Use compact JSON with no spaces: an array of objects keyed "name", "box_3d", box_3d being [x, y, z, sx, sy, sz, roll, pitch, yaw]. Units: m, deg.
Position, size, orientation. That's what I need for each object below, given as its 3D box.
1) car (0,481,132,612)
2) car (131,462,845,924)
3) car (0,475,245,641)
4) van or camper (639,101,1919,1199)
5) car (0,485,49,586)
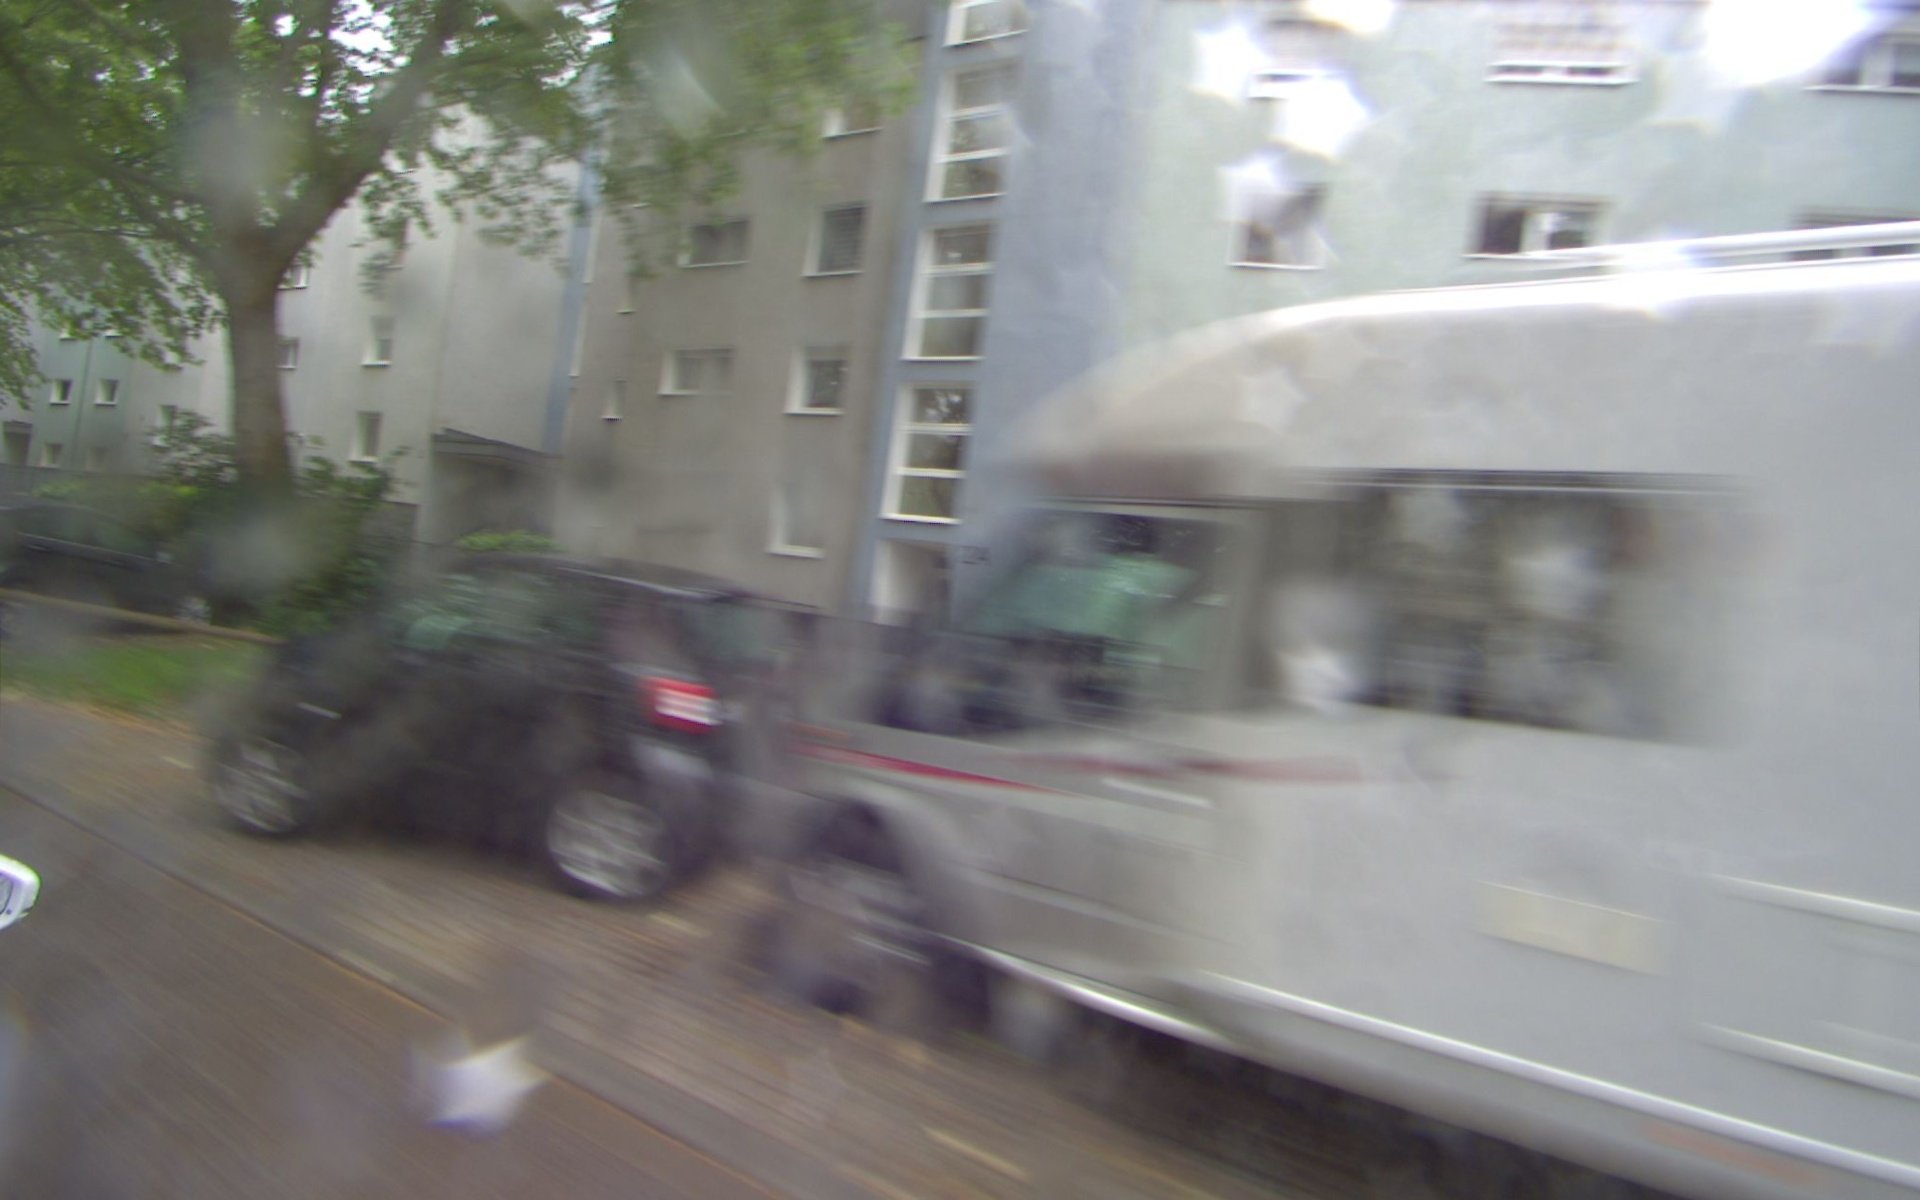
[{"name":"car","box_3d":[-13.306,-0.854,12.946,1.770,1.619,4.003,9,-2,0]},{"name":"car","box_3d":[-2.377,0.413,5.443,2.890,1.671,1.695,8,-2,14]},{"name":"car","box_3d":[-10.377,-0.489,11.316,1.770,1.619,3.772,9,-2,0]},{"name":"van or camper","box_3d":[2.351,0.435,3.241,6.750,2.839,2.324,7,-2,32]},{"name":"car","box_3d":[-16.943,-1.299,15.432,1.998,1.619,4.005,9,-2,3]}]
